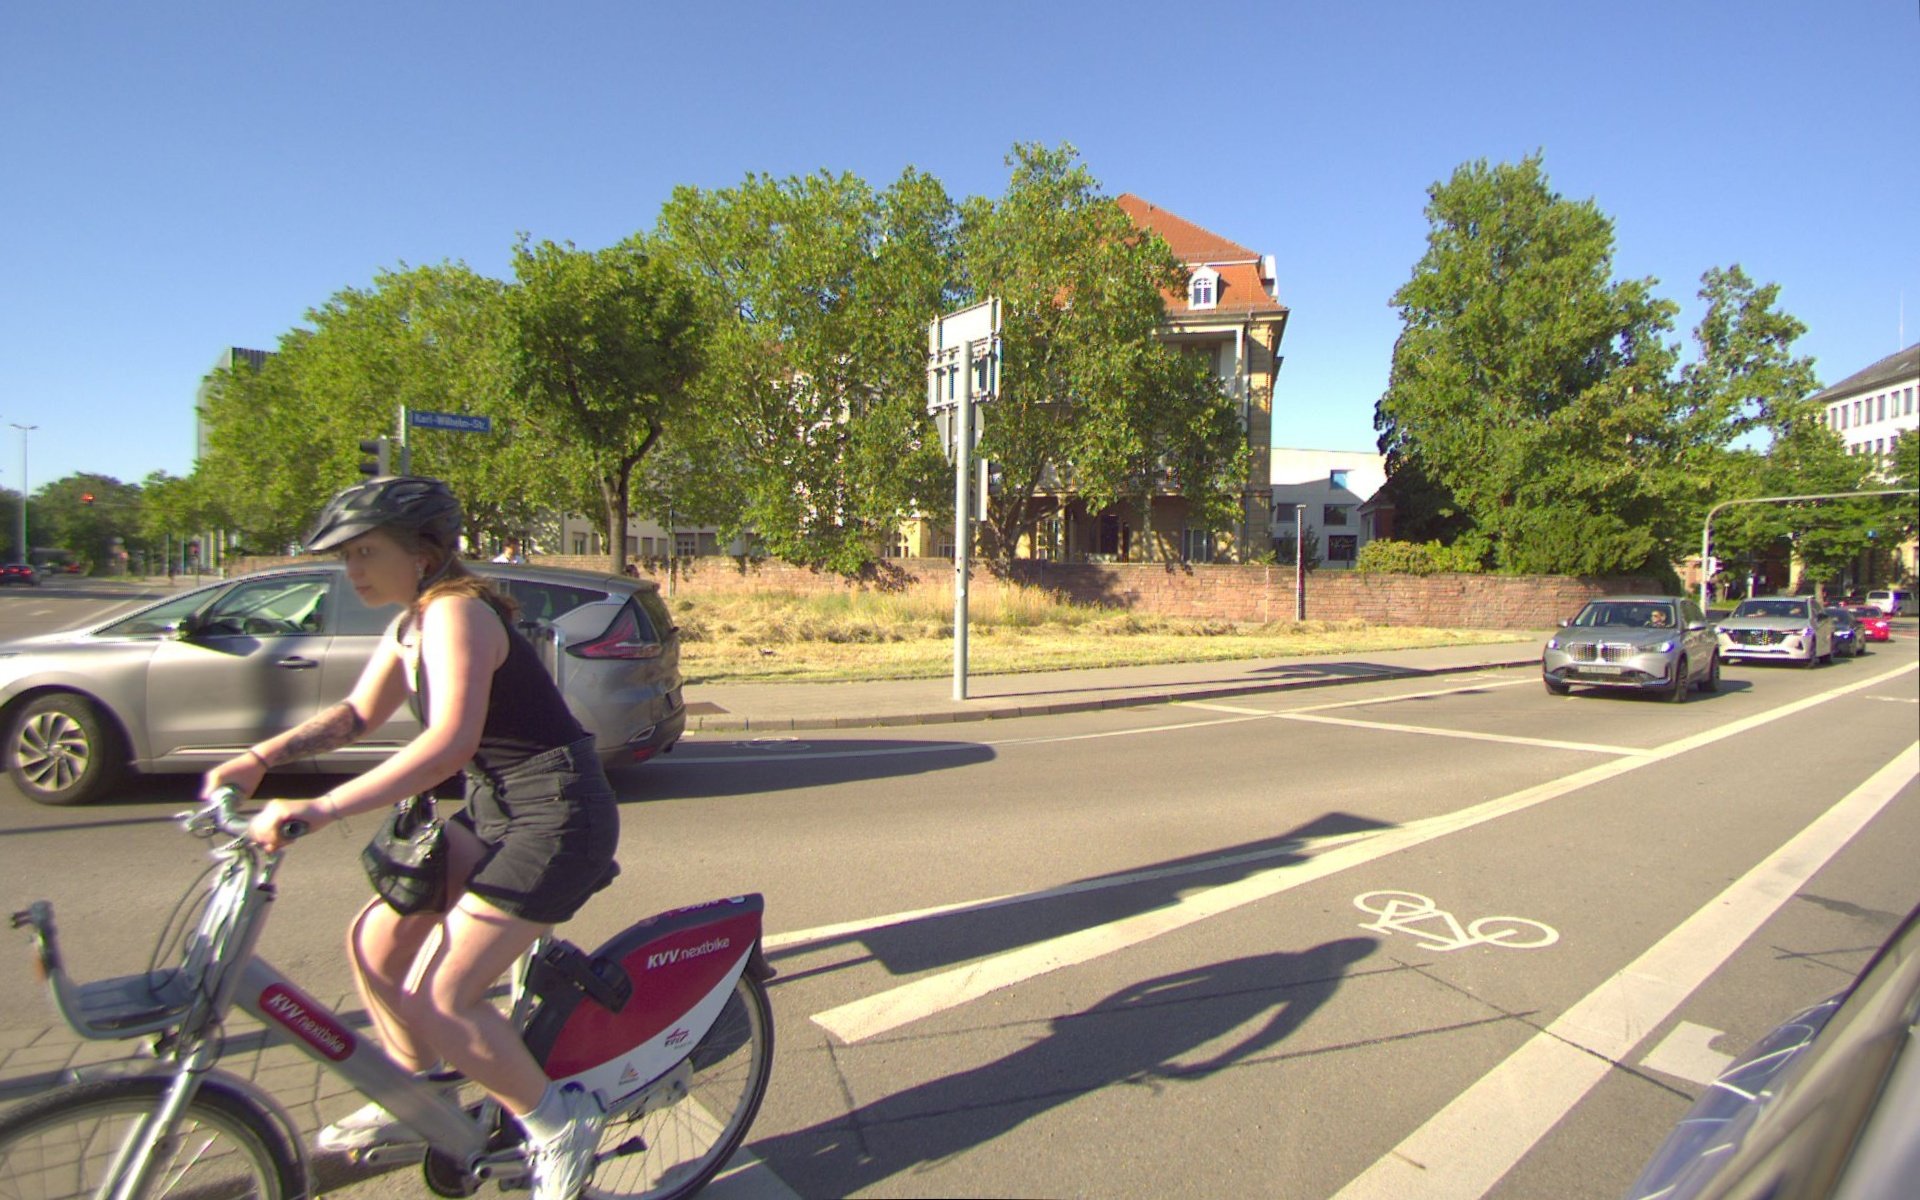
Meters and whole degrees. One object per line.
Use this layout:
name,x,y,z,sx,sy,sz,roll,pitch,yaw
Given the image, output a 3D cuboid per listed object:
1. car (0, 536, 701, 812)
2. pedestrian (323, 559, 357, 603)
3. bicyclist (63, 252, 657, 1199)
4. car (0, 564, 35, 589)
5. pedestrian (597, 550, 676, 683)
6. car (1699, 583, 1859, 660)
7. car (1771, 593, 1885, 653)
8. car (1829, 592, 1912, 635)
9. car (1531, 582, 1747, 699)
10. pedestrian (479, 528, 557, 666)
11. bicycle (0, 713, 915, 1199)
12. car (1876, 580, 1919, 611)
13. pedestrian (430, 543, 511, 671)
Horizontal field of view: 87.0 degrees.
car,-4.347,0.441,7.544,4.533,1.705,2.004,1,1,-10
pedestrian,-22.091,-0.687,36.041,0.956,1.555,0.922,0,2,-37
bicyclist,-1.174,0.397,2.009,0.715,1.810,0.837,1,1,42
car,-64.704,-1.634,69.195,1.965,1.615,3.996,-1,2,-40
pedestrian,-4.296,0.195,13.462,0.779,1.672,0.712,2,4,4
car,20.209,0.468,24.904,4.524,1.705,2.193,-1,0,-39
car,25.773,0.626,29.990,4.531,1.606,2.189,-1,0,-45
car,36.446,0.496,40.462,4.531,1.606,2.189,-1,0,-45
car,11.417,0.549,16.903,4.291,1.640,2.151,-1,2,-45
pedestrian,-6.490,-0.076,14.851,0.867,1.916,0.704,5,5,35
bicycle,-1.066,0.930,2.138,0.717,1.135,2.035,1,1,42
car,71.317,-0.335,75.935,4.066,2.038,2.005,-4,3,-16
pedestrian,-6.903,0.072,14.272,0.867,1.693,0.704,5,5,35
